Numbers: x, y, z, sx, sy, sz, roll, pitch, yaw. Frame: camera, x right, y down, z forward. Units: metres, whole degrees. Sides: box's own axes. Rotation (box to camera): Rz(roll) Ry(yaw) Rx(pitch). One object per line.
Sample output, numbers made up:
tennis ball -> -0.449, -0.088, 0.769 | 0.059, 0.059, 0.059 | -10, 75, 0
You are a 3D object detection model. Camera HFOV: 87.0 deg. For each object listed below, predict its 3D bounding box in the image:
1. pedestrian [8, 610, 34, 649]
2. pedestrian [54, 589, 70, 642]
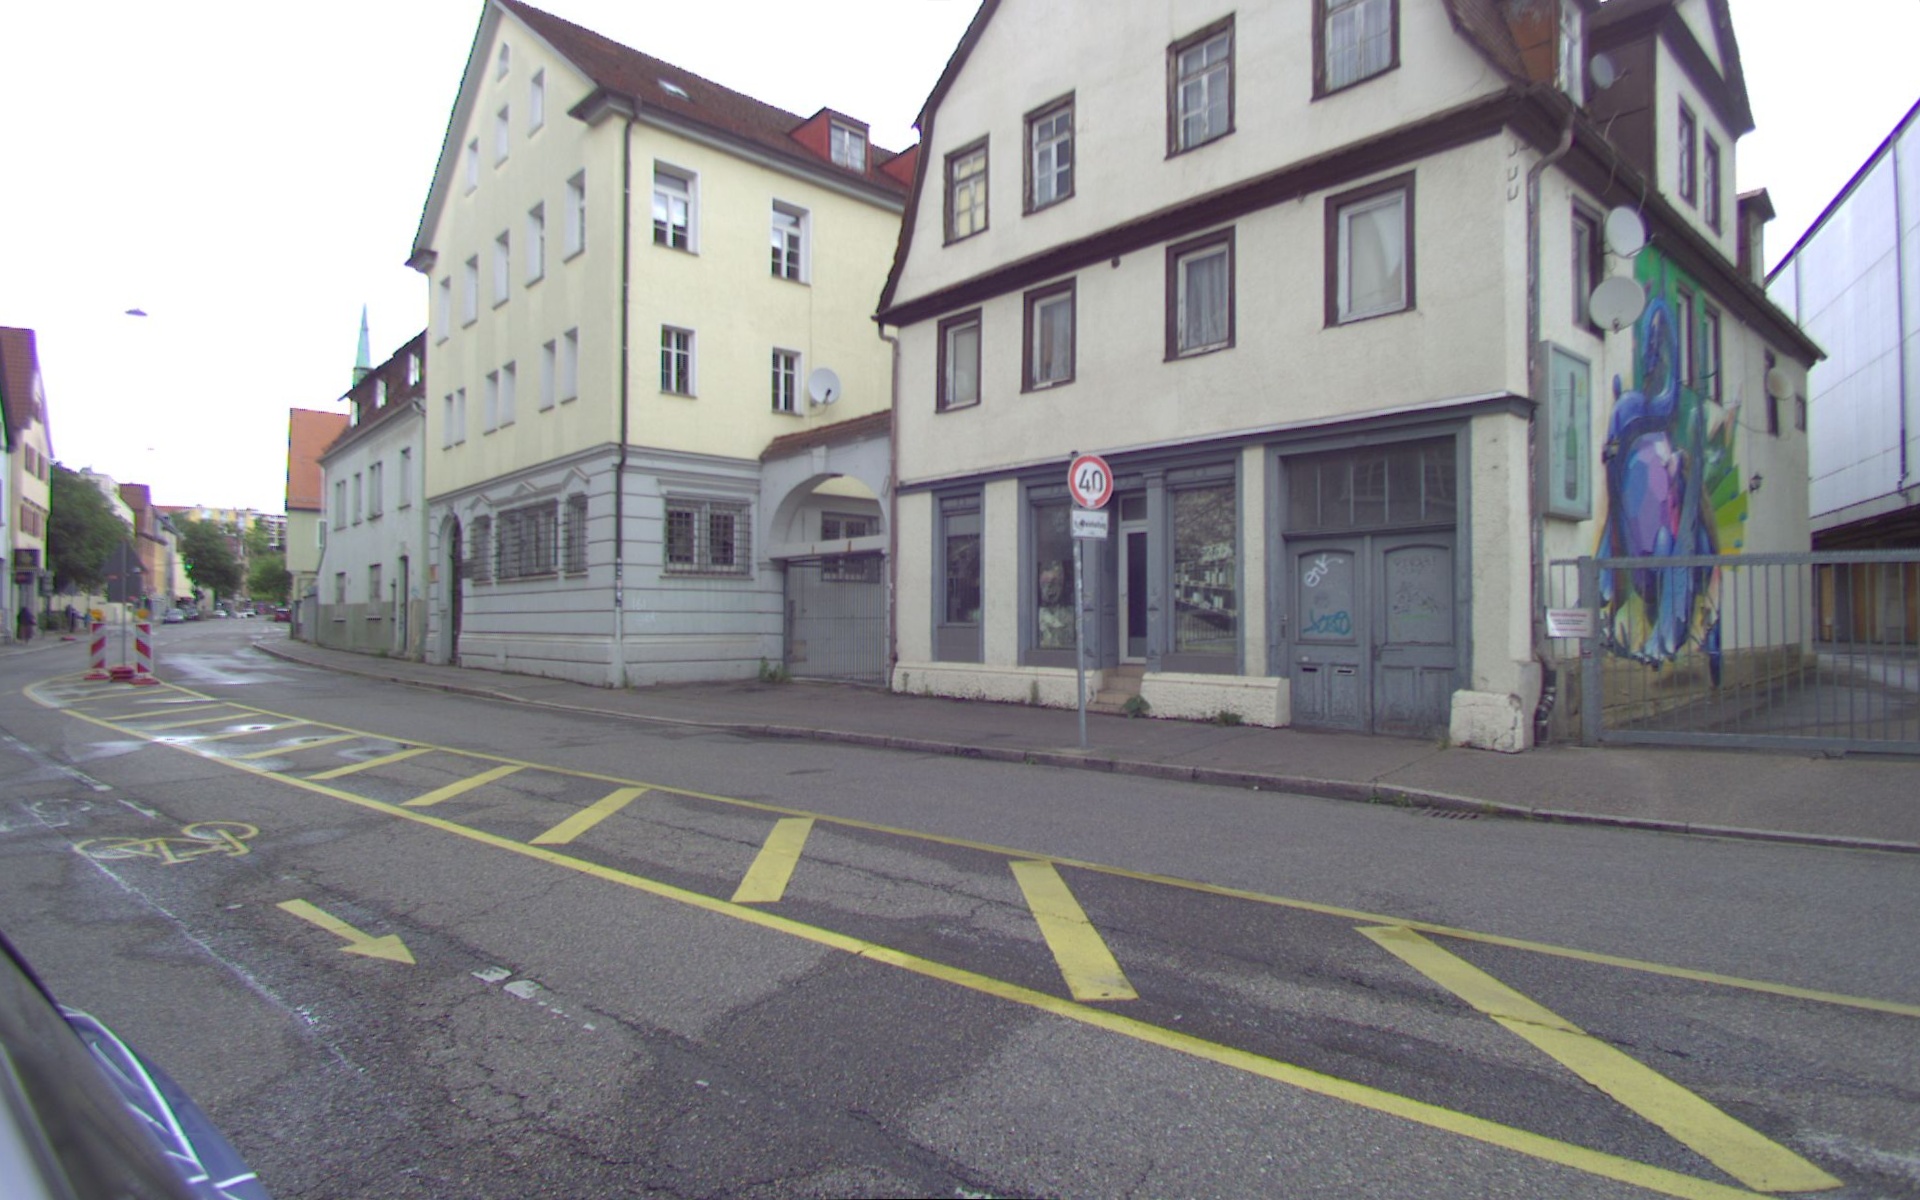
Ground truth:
pedestrian -> -39.871, 1.252, 42.985 | 0.714, 1.626, 0.650 | 1, -2, -38
pedestrian -> -43.734, 0.752, 49.301 | 0.487, 2.547, 0.747 | 1, -2, -38
